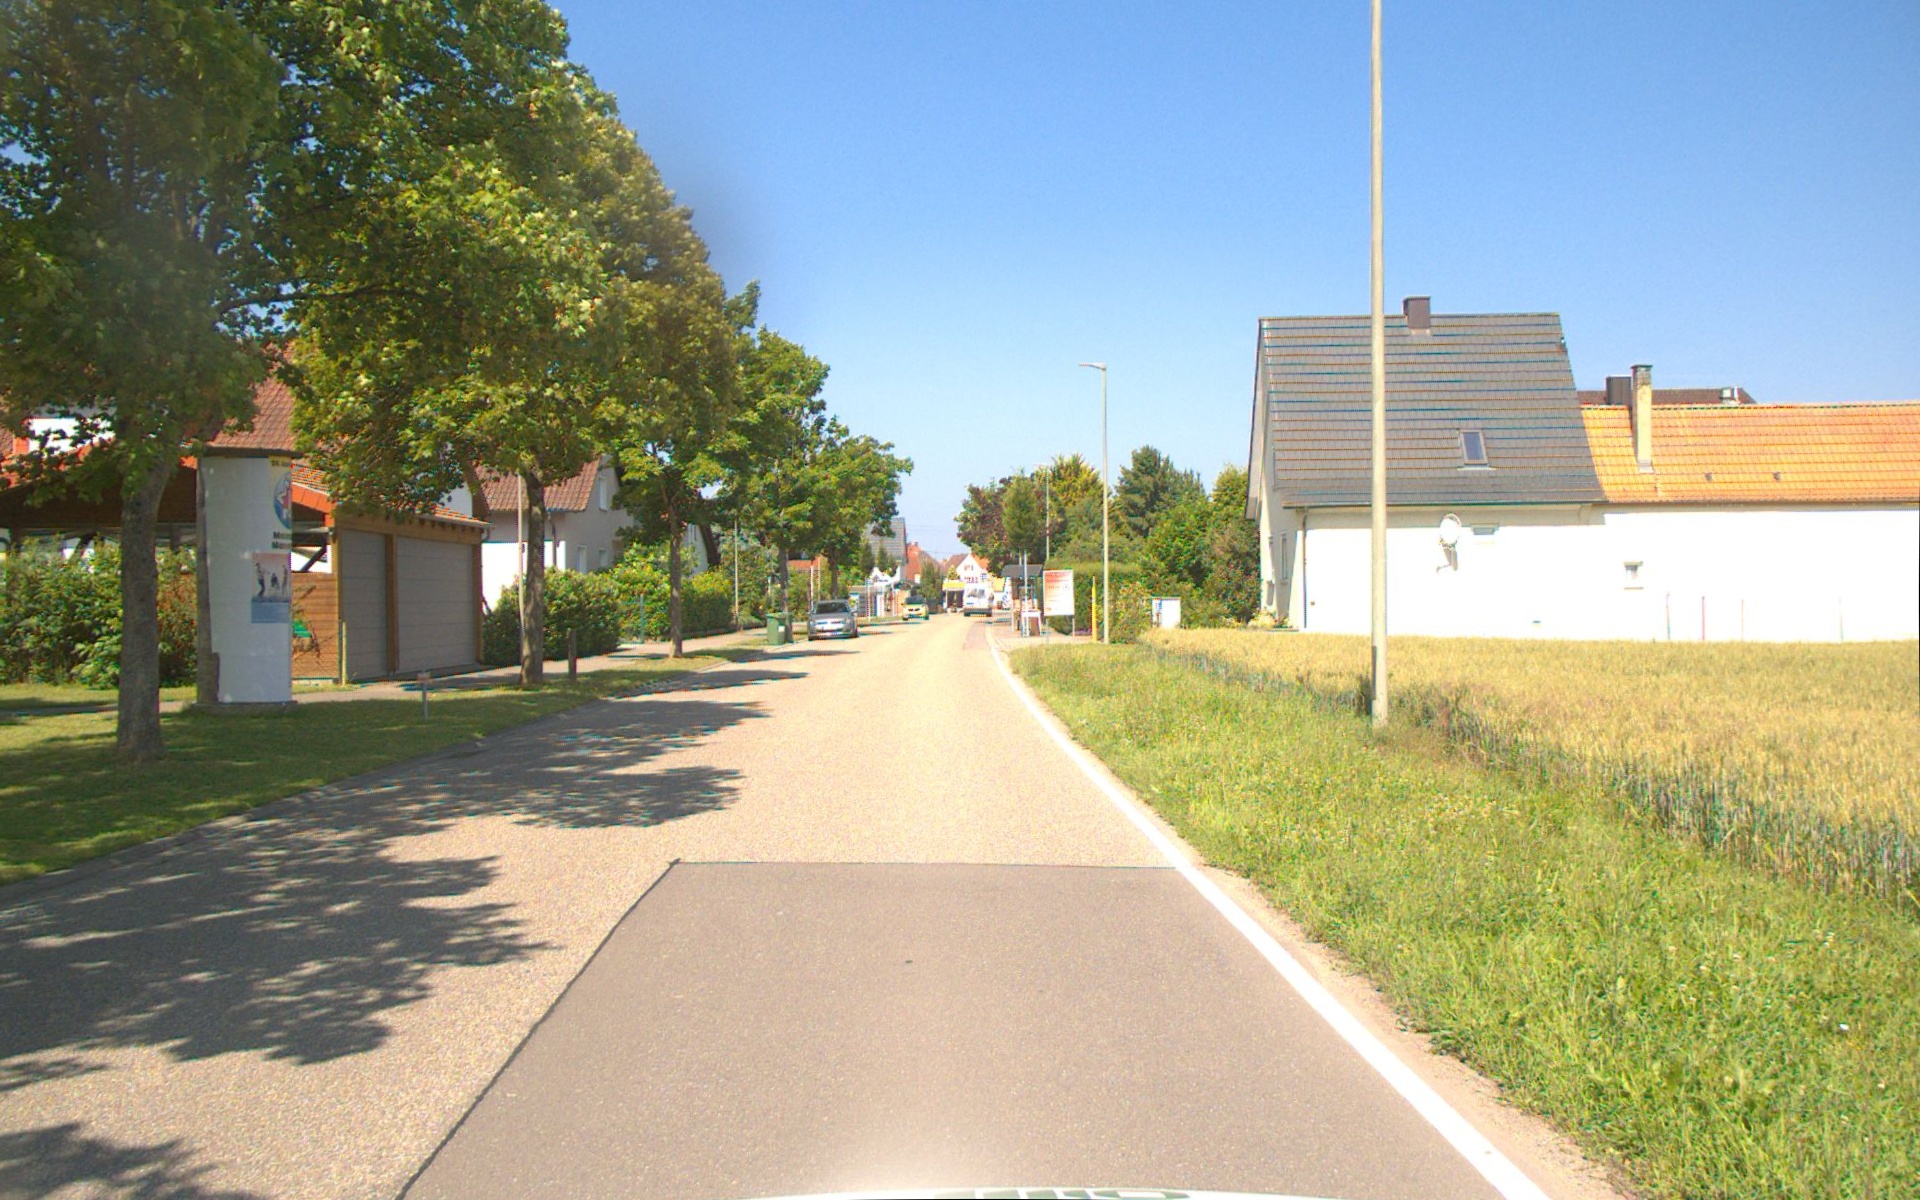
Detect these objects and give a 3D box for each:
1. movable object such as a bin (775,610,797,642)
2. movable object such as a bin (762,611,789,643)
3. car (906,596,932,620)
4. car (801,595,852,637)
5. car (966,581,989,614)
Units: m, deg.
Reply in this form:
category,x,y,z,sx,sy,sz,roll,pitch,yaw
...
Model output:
category,x,y,z,sx,sy,sz,roll,pitch,yaw
movable object such as a bin,-6.083,0.893,57.805,0.562,1.097,0.599,-1,0,13
movable object such as a bin,-6.357,0.923,57.031,0.699,1.097,0.639,-1,0,25
car,-2.718,0.516,109.590,1.632,1.550,3.440,-2,0,-3
car,-5.001,0.595,62.398,1.614,1.448,4.079,-3,0,-2
car,1.348,-0.175,127.510,1.702,2.474,4.374,-1,0,0
